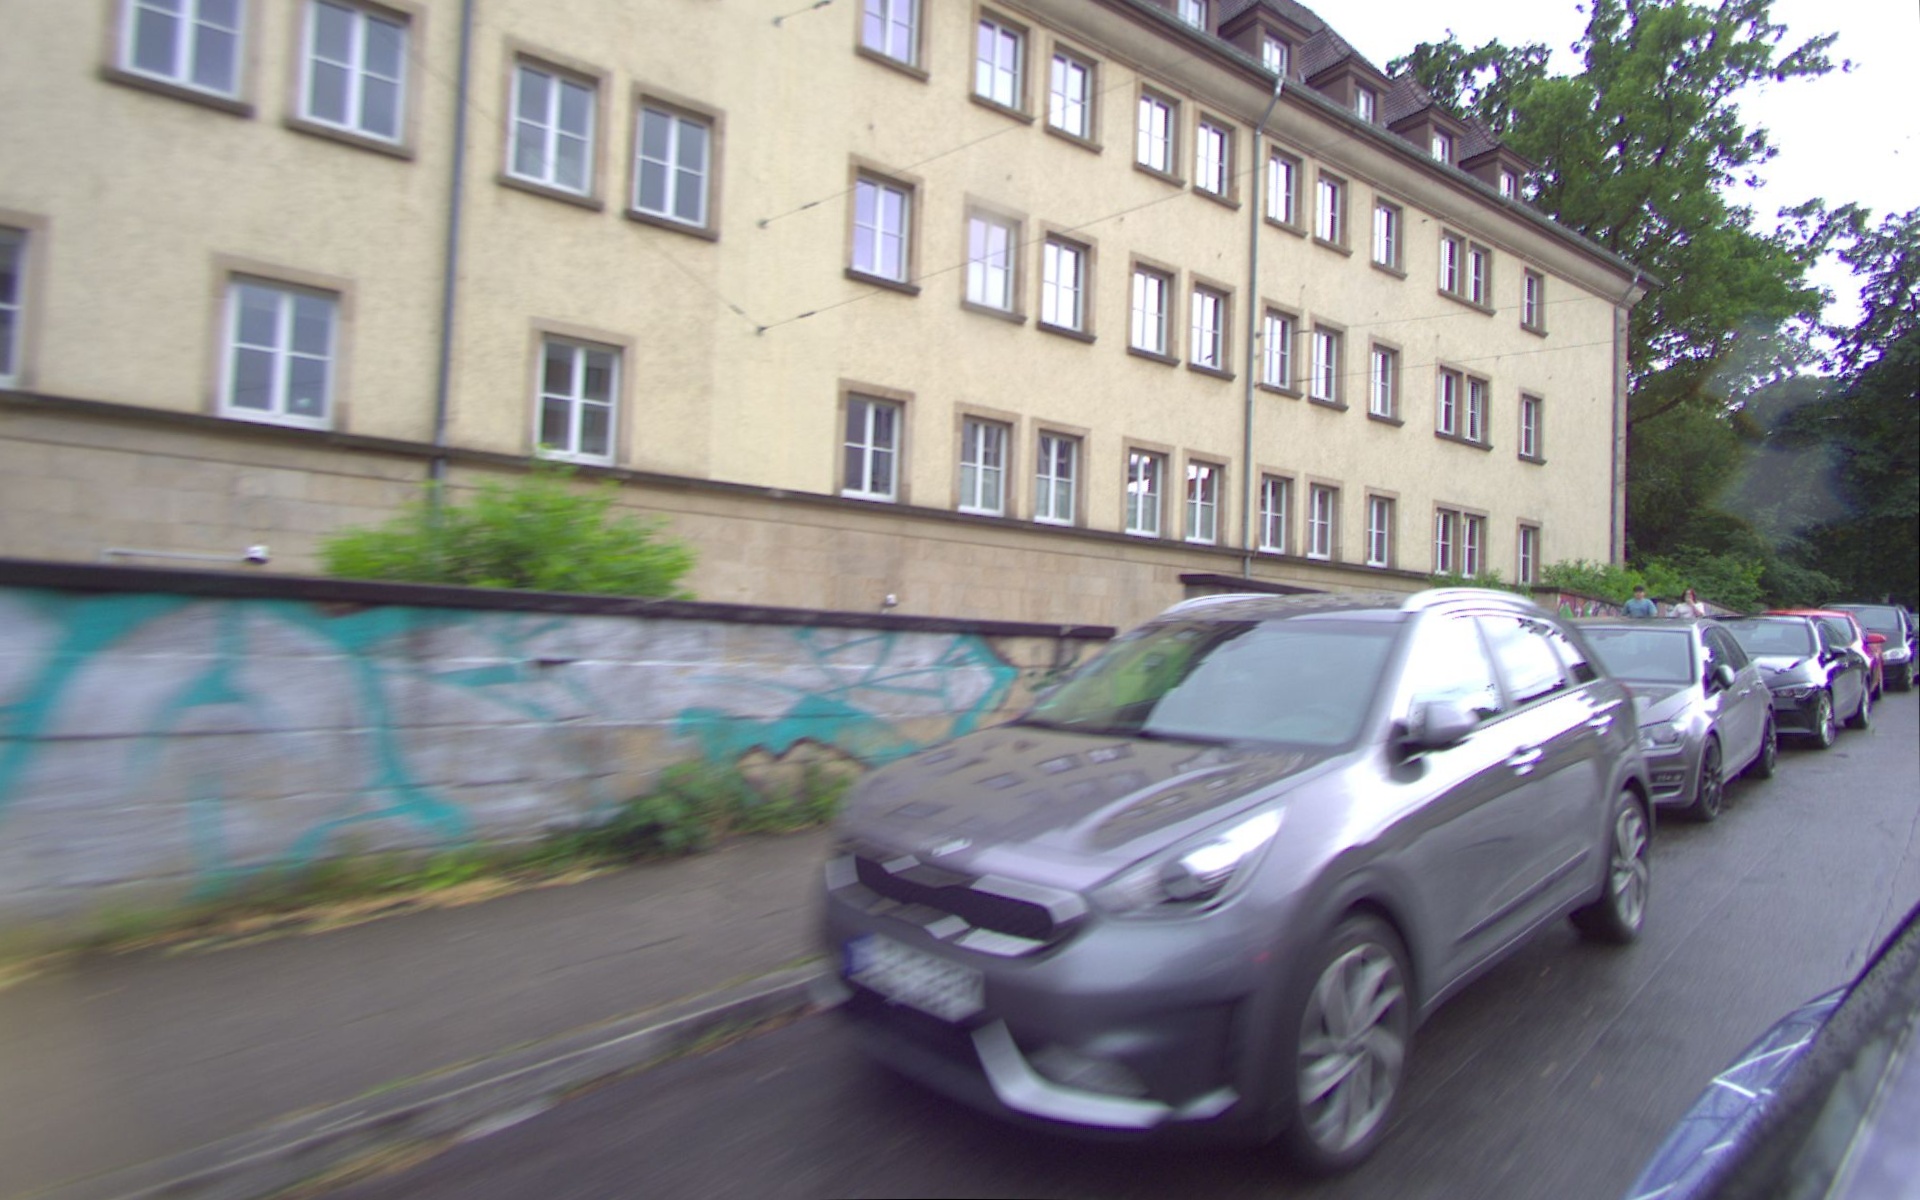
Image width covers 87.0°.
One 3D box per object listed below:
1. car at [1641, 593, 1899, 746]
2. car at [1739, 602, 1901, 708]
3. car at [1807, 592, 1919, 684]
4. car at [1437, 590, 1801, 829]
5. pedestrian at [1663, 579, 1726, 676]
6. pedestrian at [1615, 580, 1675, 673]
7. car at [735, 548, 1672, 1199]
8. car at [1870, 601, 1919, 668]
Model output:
[{"bbox_3d":[9.856,0.699,12.187,4.379,1.495,1.668,0,1,-41],"label":"car"},{"bbox_3d":[13.923,0.786,16.301,1.666,1.495,4.000,-1,-1,45],"label":"car"},{"bbox_3d":[17.851,0.673,19.600,3.789,1.593,1.668,0,1,-42],"label":"car"},{"bbox_3d":[5.661,0.701,8.475,4.040,1.495,1.667,0,1,-44],"label":"car"},{"bbox_3d":[13.859,0.498,19.099,0.724,1.777,0.720,1,0,-32],"label":"pedestrian"},{"bbox_3d":[13.384,0.498,19.786,0.724,1.777,0.720,1,0,-32],"label":"pedestrian"},{"bbox_3d":[1.321,0.655,4.004,4.040,1.543,1.667,0,1,-43],"label":"car"},{"bbox_3d":[22.183,0.764,22.966,3.575,1.434,1.541,1,1,-36],"label":"car"}]
